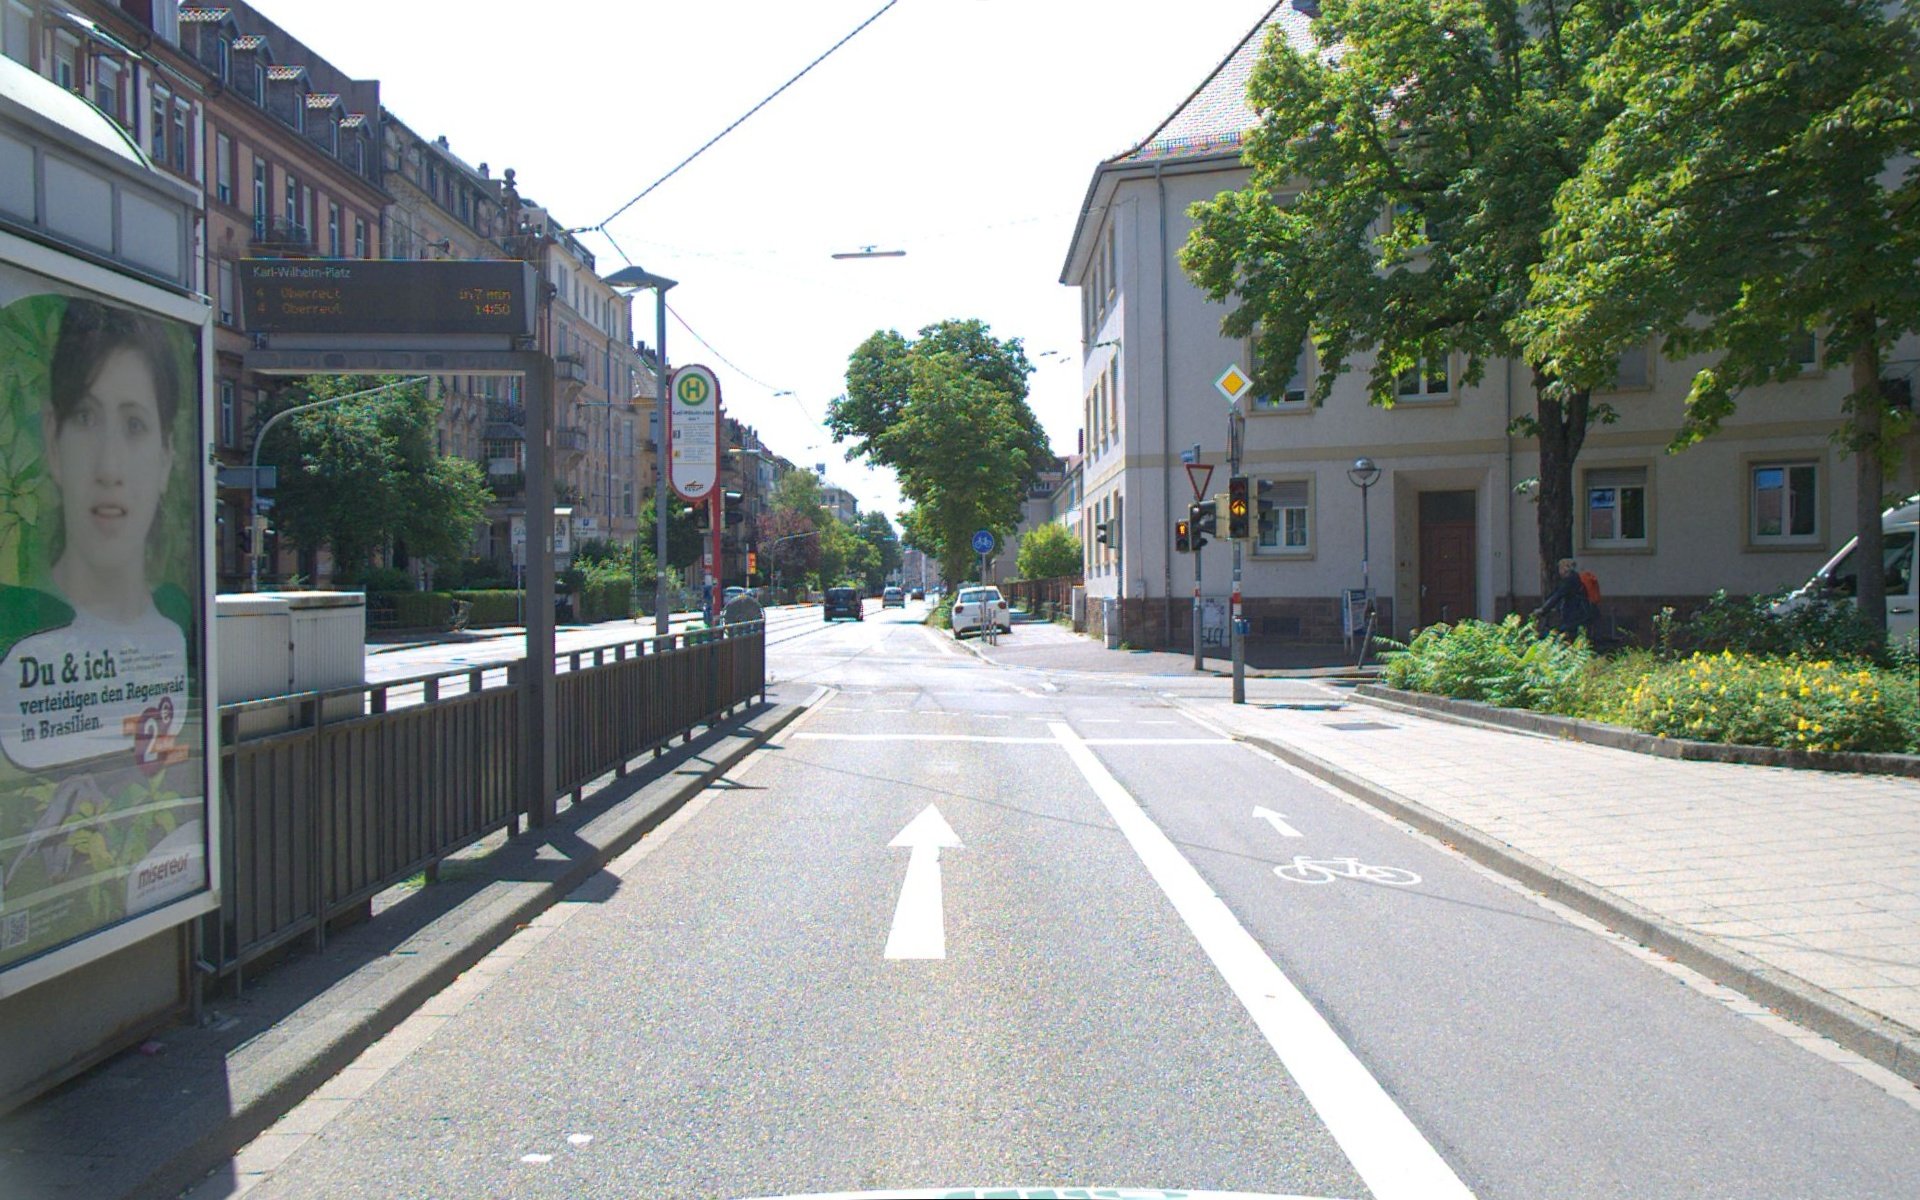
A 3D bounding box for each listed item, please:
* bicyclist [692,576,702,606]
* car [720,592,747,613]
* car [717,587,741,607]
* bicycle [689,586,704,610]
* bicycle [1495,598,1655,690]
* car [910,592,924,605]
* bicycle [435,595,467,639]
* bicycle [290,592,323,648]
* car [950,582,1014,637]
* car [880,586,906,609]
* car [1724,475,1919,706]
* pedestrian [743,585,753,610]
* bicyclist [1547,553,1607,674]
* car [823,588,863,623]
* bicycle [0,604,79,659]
[{"bbox_3d":[-15.988,-0.536,100.533,0.531,1.794,0.498,0,0,-2],"label":"bicyclist"},{"bbox_3d":[-17.515,0.202,128.278,1.651,1.498,3.936,-4,0,-3],"label":"car"},{"bbox_3d":[-19.046,-0.251,136.415,1.596,1.498,3.561,-4,0,-3],"label":"car"},{"bbox_3d":[-15.998,-0.119,100.612,0.565,1.412,2.500,0,0,-1],"label":"bicycle"},{"bbox_3d":[8.638,0.596,23.289,2.043,1.258,0.579,0,0,33],"label":"bicycle"},{"bbox_3d":[-5.324,-0.162,205.101,1.596,1.498,3.561,-4,0,-3],"label":"car"},{"bbox_3d":[-16.309,0.527,52.921,0.584,1.380,2.419,0,0,-27],"label":"bicycle"},{"bbox_3d":[-17.022,0.520,43.059,0.607,1.420,2.287,0,0,-27],"label":"bicycle"},{"bbox_3d":[0.635,0.274,50.091,1.712,1.498,3.937,-4,0,-1],"label":"car"},{"bbox_3d":[-4.902,-0.180,121.106,1.712,1.498,3.937,-4,0,-1],"label":"car"},{"bbox_3d":[12.082,-0.108,18.995,1.981,2.635,5.766,0,0,-40],"label":"car"},{"bbox_3d":[-15.386,-0.180,120.133,0.664,1.758,0.677,0,0,-1],"label":"pedestrian"},{"bbox_3d":[8.683,0.187,23.270,0.681,1.675,0.579,0,0,33],"label":"bicyclist"},{"bbox_3d":[-5.190,0.225,73.766,1.494,1.469,3.364,-2,0,0],"label":"car"},{"bbox_3d":[-20.341,0.682,36.544,0.358,1.189,1.511,1,1,40],"label":"bicycle"}]
